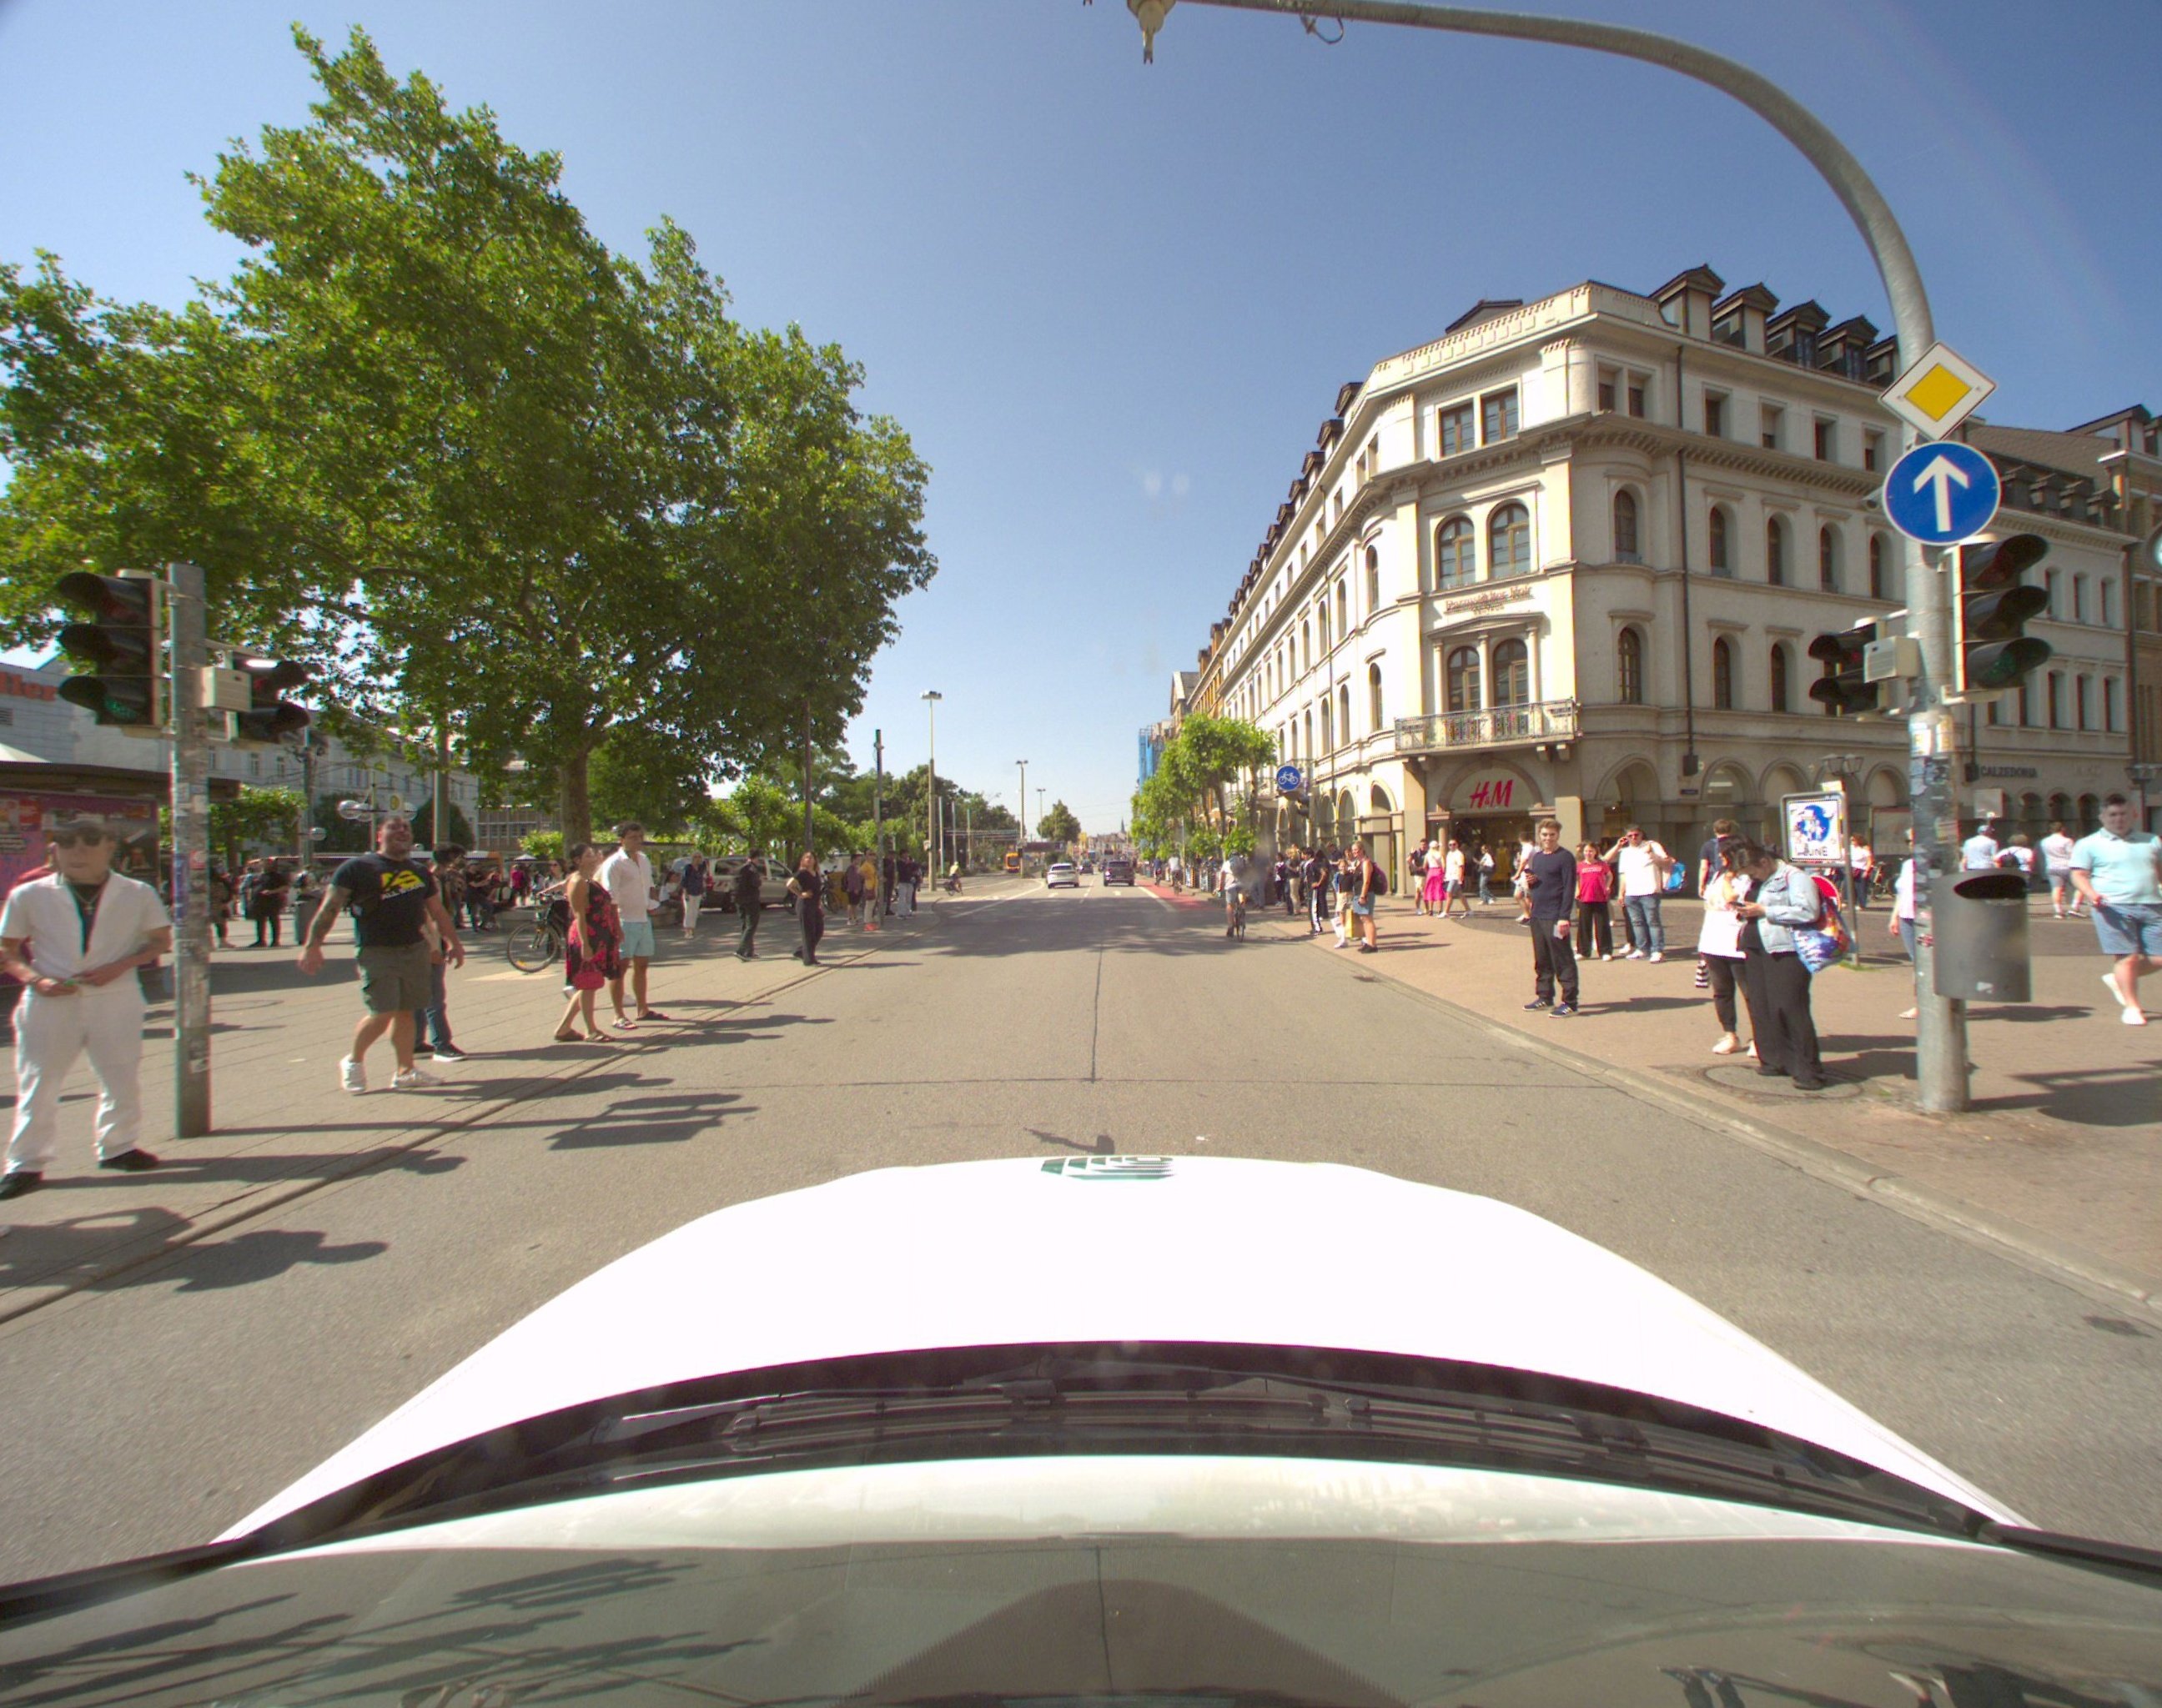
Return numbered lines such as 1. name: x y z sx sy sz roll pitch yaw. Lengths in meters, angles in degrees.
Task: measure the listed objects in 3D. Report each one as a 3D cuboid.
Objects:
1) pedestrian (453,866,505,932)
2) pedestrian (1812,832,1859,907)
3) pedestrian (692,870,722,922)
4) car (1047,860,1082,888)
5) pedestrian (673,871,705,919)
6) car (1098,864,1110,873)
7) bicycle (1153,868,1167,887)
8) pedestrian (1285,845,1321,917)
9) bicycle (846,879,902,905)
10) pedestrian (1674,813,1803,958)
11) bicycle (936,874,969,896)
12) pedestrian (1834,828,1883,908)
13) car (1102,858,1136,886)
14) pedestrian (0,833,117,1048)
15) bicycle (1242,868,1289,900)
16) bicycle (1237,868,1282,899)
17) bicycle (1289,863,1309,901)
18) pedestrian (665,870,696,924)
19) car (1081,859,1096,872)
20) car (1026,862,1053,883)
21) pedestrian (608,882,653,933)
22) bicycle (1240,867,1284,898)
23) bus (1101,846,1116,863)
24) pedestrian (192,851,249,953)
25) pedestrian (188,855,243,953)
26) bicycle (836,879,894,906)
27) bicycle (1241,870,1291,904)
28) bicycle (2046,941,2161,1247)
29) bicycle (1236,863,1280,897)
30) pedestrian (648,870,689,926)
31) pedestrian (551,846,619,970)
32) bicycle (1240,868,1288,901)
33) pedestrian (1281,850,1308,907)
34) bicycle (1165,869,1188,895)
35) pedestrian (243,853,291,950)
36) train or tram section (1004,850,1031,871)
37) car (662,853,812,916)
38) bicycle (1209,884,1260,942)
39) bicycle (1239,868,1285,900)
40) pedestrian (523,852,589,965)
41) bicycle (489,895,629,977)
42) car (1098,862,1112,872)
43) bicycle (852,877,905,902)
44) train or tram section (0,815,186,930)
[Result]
1. pedestrian: -13.817 1.022 18.710 0.627 1.479 0.735 -1 -1 22
2. pedestrian: 17.607 0.348 19.006 0.543 1.716 0.671 0 0 -29
3. pedestrian: -10.254 1.129 22.307 0.663 1.386 0.658 0 -1 -32
4. car: -0.969 1.168 48.774 1.838 1.560 4.002 -2 0 2
5. pedestrian: -11.347 1.180 23.559 0.708 1.348 0.504 0 -1 -42
6. car: 3.485 2.234 125.438 1.839 1.413 4.000 -1 0 1
7. bicycle: 4.507 1.344 46.747 0.645 0.998 2.031 -1 0 1
8. pedestrian: 5.341 0.639 19.584 0.581 1.673 0.605 -4 -1 -1
9. bicycle: -8.324 1.525 32.793 2.082 0.980 0.682 -2 -1 -10
10. pedestrian: 8.669 0.415 10.806 0.655 1.790 1.233 -1 -2 1
11. bicycle: -6.587 1.575 41.817 0.671 1.026 1.979 -1 -1 24
12. pedestrian: 17.736 0.314 18.579 0.543 1.770 0.671 0 0 -29
13. car: 2.240 1.065 48.794 1.839 1.559 4.000 -1 0 0
14. pedestrian: -9.468 0.759 7.523 0.624 1.879 0.668 -1 -1 43
15. bicycle: 6.040 0.978 26.663 1.415 0.980 0.445 -2 0 2
16. bicycle: 6.056 0.985 27.611 1.415 0.980 0.445 -2 0 2
17. bicycle: 6.857 0.871 25.597 0.396 1.114 1.433 -2 0 22
18. pedestrian: -10.545 1.128 21.448 0.660 1.386 0.661 -1 -1 -19
19. car: 0.949 1.482 101.895 1.839 1.560 4.000 -1 0 1
20. car: -3.211 1.421 64.095 1.839 1.560 4.000 -1 -1 1
21. pedestrian: -10.517 1.245 19.020 0.627 1.144 0.669 -1 -1 22
22. bicycle: 6.224 0.983 28.043 1.415 0.980 0.401 -2 0 2
23. bus: 6.068 0.097 180.496 2.984 3.594 11.745 -1 -1 1
24. pedestrian: -16.122 0.887 15.264 0.503 1.859 0.569 -1 -1 22
25. pedestrian: -16.643 0.946 15.670 0.503 1.859 0.569 -1 -1 22
26. bicycle: -8.367 1.483 31.570 2.082 0.980 0.682 -2 -1 -10
27. bicycle: 5.756 1.011 25.384 1.415 0.980 0.445 -2 0 2
28. bicycle: 4.659 0.892 2.666 0.604 1.082 1.820 -3 -1 -33
29. bicycle: 6.197 0.921 28.472 1.415 1.114 0.401 -2 0 2
30. pedestrian: -10.470 1.098 20.685 0.729 1.386 0.664 -1 -1 -6
31. pedestrian: -7.326 0.782 12.044 0.573 1.779 0.607 0 -1 7
32. bicycle: 5.875 0.980 26.205 1.415 0.980 0.445 -2 0 2
33. pedestrian: 6.138 0.699 23.410 0.525 1.595 0.615 -4 -2 28
34. bicycle: 4.040 1.164 34.524 0.771 1.006 2.330 -1 0 2
35. pedestrian: -15.985 0.924 16.005 0.549 1.859 0.500 0 -1 -32
36. train or tram section: -10.540 1.092 136.341 2.600 3.348 11.017 -1 0 5
37. car: -11.589 0.996 27.843 1.843 1.955 4.786 -1 -1 22
38. bicycle: 2.917 1.096 15.647 0.628 0.980 2.089 0 0 1
39. bicycle: 6.019 0.992 27.119 1.415 0.980 0.445 -2 0 2
40. pedestrian: -8.153 0.827 12.662 0.572 1.711 0.607 0 -1 8
41. bicycle: -7.678 1.172 12.092 0.486 1.029 1.941 -1 0 14
42. car: 3.385 1.807 114.648 1.839 1.413 4.000 -1 0 1
43. bicycle: -8.443 1.470 33.987 2.082 0.980 0.682 -2 -1 -10
44. train or tram section: -37.777 0.633 23.668 2.587 3.677 15.647 -1 0 37
